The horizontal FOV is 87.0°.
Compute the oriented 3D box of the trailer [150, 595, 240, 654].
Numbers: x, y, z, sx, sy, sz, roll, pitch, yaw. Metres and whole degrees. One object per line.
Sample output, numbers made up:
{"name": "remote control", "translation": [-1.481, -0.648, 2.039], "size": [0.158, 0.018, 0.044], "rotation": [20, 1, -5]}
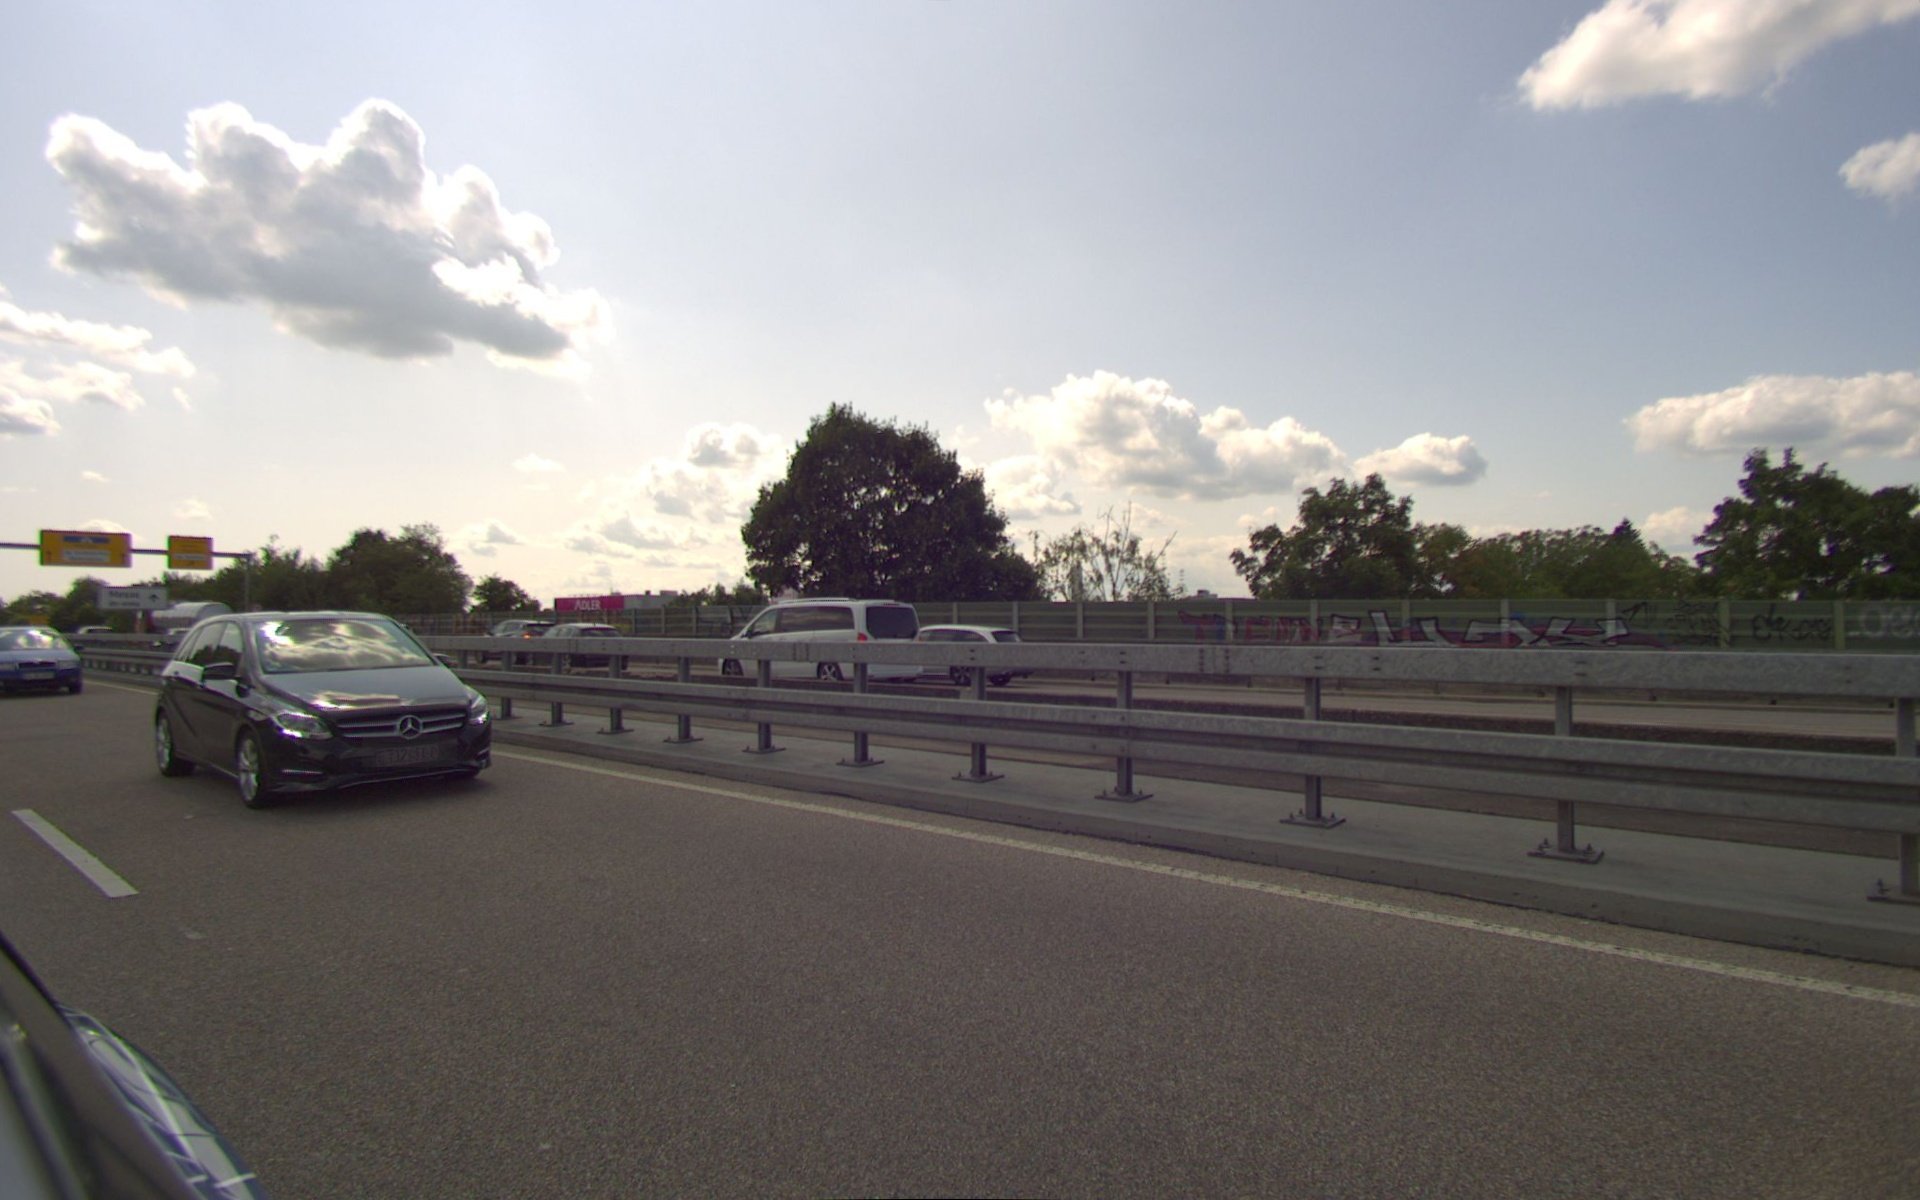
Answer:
{"name": "trailer", "translation": [-51.987, 1.652, 68.633], "size": [11.023, 3.697, 2.656], "rotation": [-1, 0, 41]}

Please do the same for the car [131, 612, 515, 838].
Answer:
{"name": "car", "translation": [-5.977, 0.922, 9.238], "size": [4.590, 1.539, 1.694], "rotation": [-1, 0, 41]}

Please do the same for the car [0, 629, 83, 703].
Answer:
{"name": "car", "translation": [-20.263, 1.375, 21.759], "size": [3.769, 1.422, 1.605], "rotation": [-1, 0, 41]}

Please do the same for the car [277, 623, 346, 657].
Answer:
{"name": "car", "translation": [-32.687, 2.008, 50.961], "size": [4.278, 1.632, 1.697], "rotation": [-1, -3, 40]}

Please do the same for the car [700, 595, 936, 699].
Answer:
{"name": "car", "translation": [-3.147, 0.989, 21.741], "size": [5.184, 1.940, 1.941], "rotation": [-3, 0, 38]}

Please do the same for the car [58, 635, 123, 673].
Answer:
{"name": "car", "translation": [-46.917, 2.860, 54.587], "size": [4.236, 1.871, 1.973], "rotation": [-1, 0, 40]}

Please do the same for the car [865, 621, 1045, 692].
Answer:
{"name": "car", "translation": [-0.183, 1.365, 25.284], "size": [4.278, 1.586, 1.905], "rotation": [-2, -1, 39]}

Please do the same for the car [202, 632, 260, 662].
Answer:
{"name": "car", "translation": [-41.133, 2.636, 57.083], "size": [3.957, 1.520, 1.765], "rotation": [-1, 0, 40]}

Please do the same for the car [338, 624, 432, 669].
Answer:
{"name": "car", "translation": [-22.278, 1.750, 39.160], "size": [3.883, 1.586, 1.905], "rotation": [-1, 0, 40]}

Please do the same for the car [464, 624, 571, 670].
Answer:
{"name": "car", "translation": [-16.442, 1.719, 37.547], "size": [4.278, 1.586, 1.905], "rotation": [-2, -1, 39]}

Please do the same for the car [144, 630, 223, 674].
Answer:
{"name": "car", "translation": [-31.746, 2.130, 41.354], "size": [3.737, 1.635, 1.710], "rotation": [-3, -1, 39]}

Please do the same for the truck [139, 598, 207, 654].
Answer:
{"name": "truck", "translation": [-56.403, 1.853, 72.462], "size": [6.229, 3.810, 2.621], "rotation": [-1, 0, 41]}

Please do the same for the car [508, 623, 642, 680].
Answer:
{"name": "car", "translation": [-11.531, 1.500, 30.210], "size": [4.241, 1.586, 1.904], "rotation": [-1, -2, 40]}
